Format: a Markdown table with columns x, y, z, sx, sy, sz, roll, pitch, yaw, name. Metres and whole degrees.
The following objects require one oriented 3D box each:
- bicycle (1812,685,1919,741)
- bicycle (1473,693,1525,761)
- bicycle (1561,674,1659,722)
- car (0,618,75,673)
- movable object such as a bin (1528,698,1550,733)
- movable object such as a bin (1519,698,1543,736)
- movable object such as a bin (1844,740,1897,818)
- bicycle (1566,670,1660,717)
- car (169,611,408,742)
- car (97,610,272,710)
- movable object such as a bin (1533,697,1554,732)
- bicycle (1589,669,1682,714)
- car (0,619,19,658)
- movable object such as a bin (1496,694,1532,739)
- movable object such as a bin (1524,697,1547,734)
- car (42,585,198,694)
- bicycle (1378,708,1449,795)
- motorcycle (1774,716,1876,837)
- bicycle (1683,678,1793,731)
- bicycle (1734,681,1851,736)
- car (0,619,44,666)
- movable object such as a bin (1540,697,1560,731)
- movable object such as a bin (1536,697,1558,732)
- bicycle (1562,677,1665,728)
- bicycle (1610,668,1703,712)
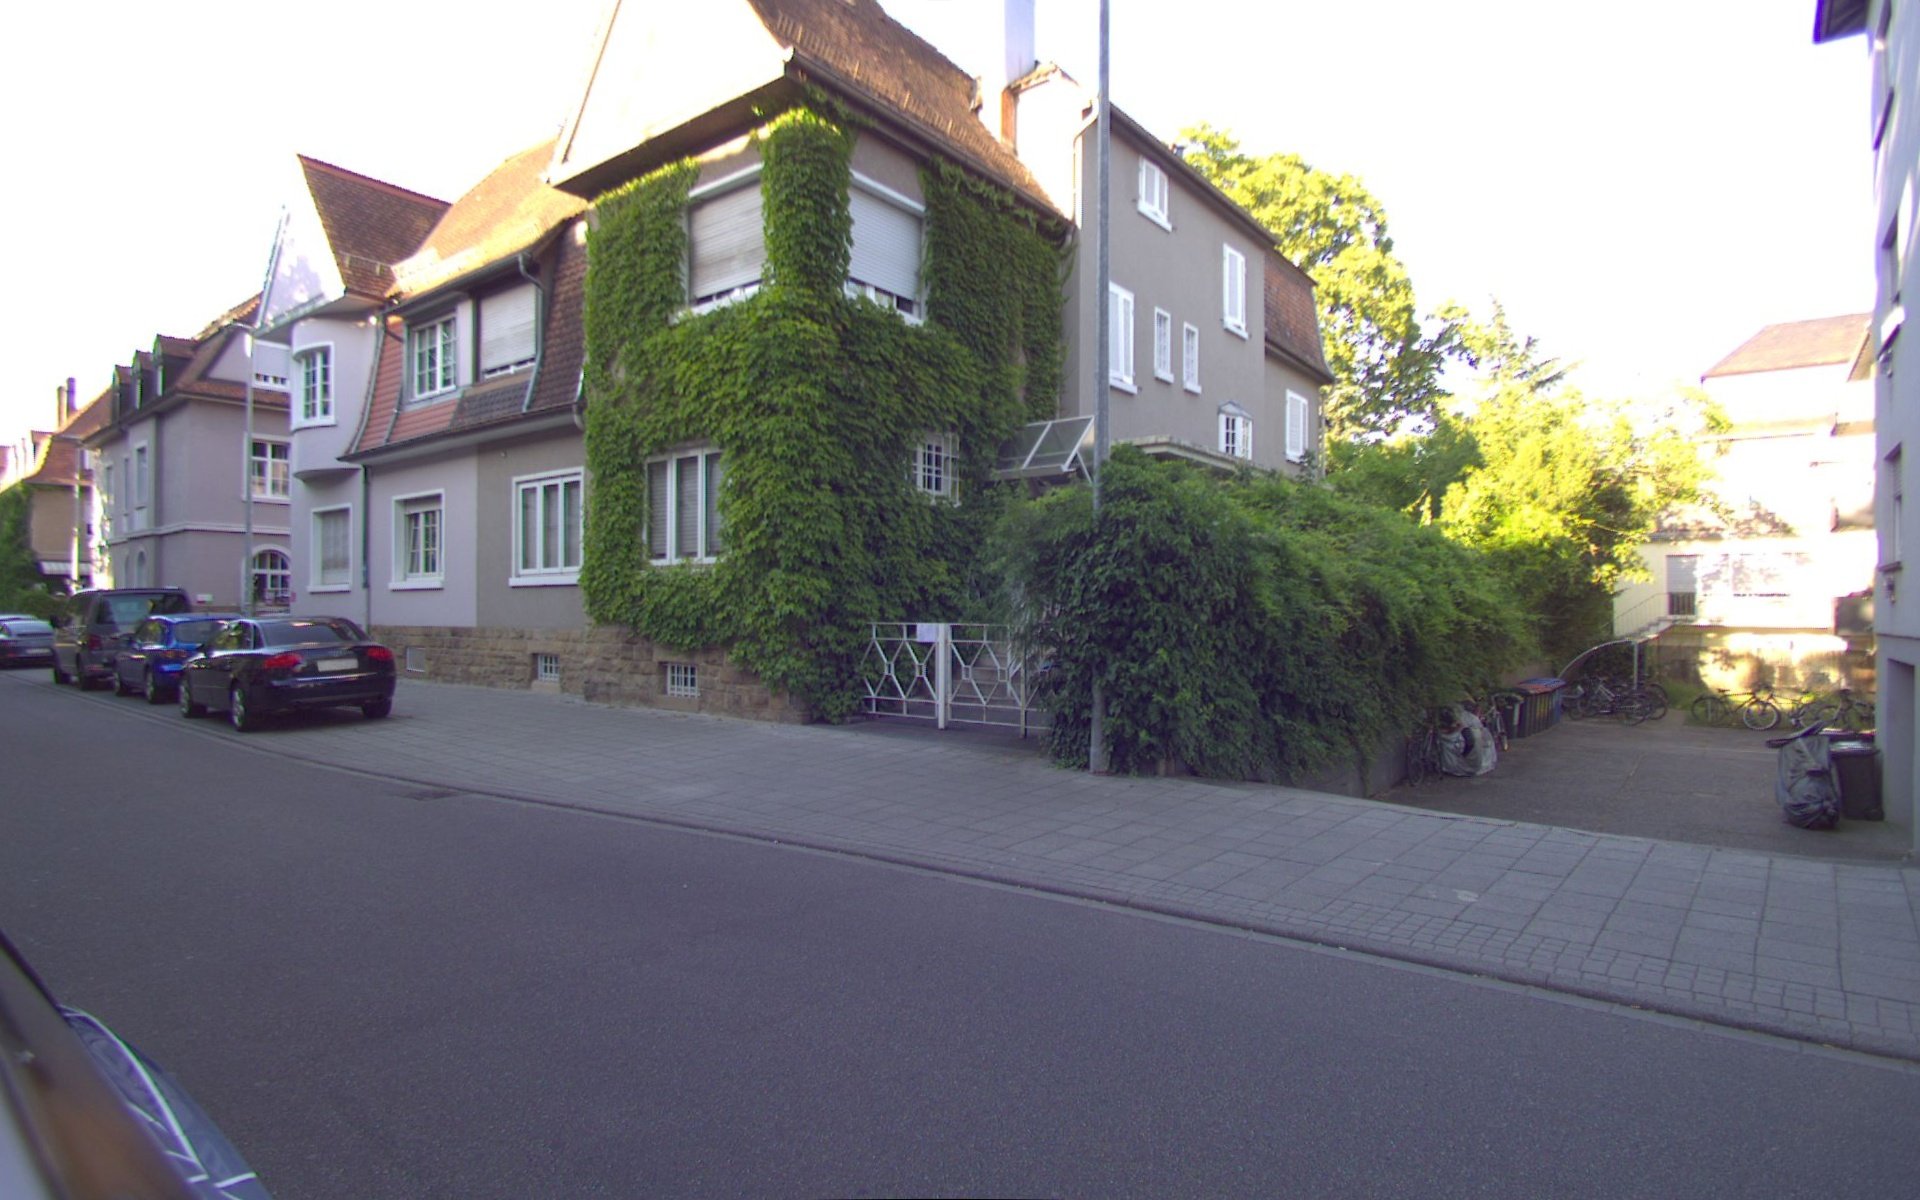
| x | y | z | sx | sy | sz | roll | pitch | yaw | name |
| --- | --- | --- | --- | --- | --- | --- | --- | --- | --- |
| 20.538 | 2.536 | 22.767 | 2.068 | 1.028 | 0.634 | 1 | 3 | 41 | bicycle |
| 9.963 | 2.316 | 18.667 | 0.514 | 1.027 | 1.914 | 1 | 0 | 38 | bicycle |
| 16.799 | 2.521 | 26.207 | 2.068 | 1.028 | 0.565 | 1 | 3 | 41 | bicycle |
| -26.329 | 1.224 | 28.330 | 4.331 | 1.381 | 1.698 | -1 | 1 | 40 | car |
| 13.028 | 2.592 | 22.760 | 0.375 | 0.764 | 0.359 | -1 | -4 | 41 | movable object such as a bin |
| 12.506 | 2.556 | 22.154 | 0.398 | 0.779 | 0.359 | -1 | -4 | 41 | movable object such as a bin |
| 11.767 | 2.298 | 13.093 | 0.432 | 0.894 | 0.717 | -1 | -3 | 37 | movable object such as a bin |
| 17.667 | 2.510 | 27.426 | 2.068 | 1.028 | 0.608 | 1 | 3 | 41 | bicycle |
| -9.287 | 0.917 | 13.873 | 4.023 | 1.439 | 1.729 | 0 | 2 | 42 | car |
| -13.738 | 0.964 | 17.853 | 4.021 | 1.475 | 1.591 | 0 | 2 | 40 | car |
| 13.290 | 2.612 | 23.053 | 0.367 | 0.764 | 0.359 | -1 | -4 | 41 | movable object such as a bin |
| 18.585 | 2.498 | 27.892 | 2.068 | 1.028 | 0.608 | 1 | 3 | 41 | bicycle |
| -36.506 | 1.435 | 37.660 | 3.942 | 1.381 | 1.698 | -1 | 1 | 40 | car |
| 11.549 | 2.419 | 21.090 | 0.576 | 0.886 | 0.488 | 0 | -3 | 41 | movable object such as a bin |
| 12.776 | 2.561 | 22.459 | 0.381 | 0.779 | 0.359 | -1 | -4 | 41 | movable object such as a bin |
| -17.439 | 0.730 | 20.943 | 4.308 | 1.987 | 1.698 | 0 | 2 | 40 | car |
| 6.802 | 2.230 | 15.133 | 0.514 | 1.027 | 1.914 | 1 | 0 | 38 | bicycle |
| 10.737 | 2.151 | 12.613 | 0.757 | 1.261 | 1.575 | -1 | -3 | 34 | motorcycle |
| 18.722 | 2.497 | 24.388 | 2.068 | 1.028 | 0.634 | 1 | 3 | 41 | bicycle |
| 19.474 | 2.514 | 23.712 | 2.068 | 1.028 | 0.634 | 1 | 3 | 41 | bicycle |
| -30.295 | 1.327 | 31.937 | 3.942 | 1.381 | 1.522 | -1 | 0 | 40 | car |
| 13.786 | 2.658 | 23.650 | 0.346 | 0.764 | 0.359 | -1 | -4 | 41 | movable object such as a bin |
| 13.542 | 2.631 | 23.350 | 0.367 | 0.764 | 0.359 | -1 | -4 | 41 | movable object such as a bin |
| 16.222 | 2.529 | 25.161 | 2.068 | 1.028 | 0.634 | 1 | 3 | 41 | bicycle |
| 19.387 | 2.488 | 28.196 | 2.068 | 1.028 | 0.561 | 1 | 3 | 41 | bicycle |
